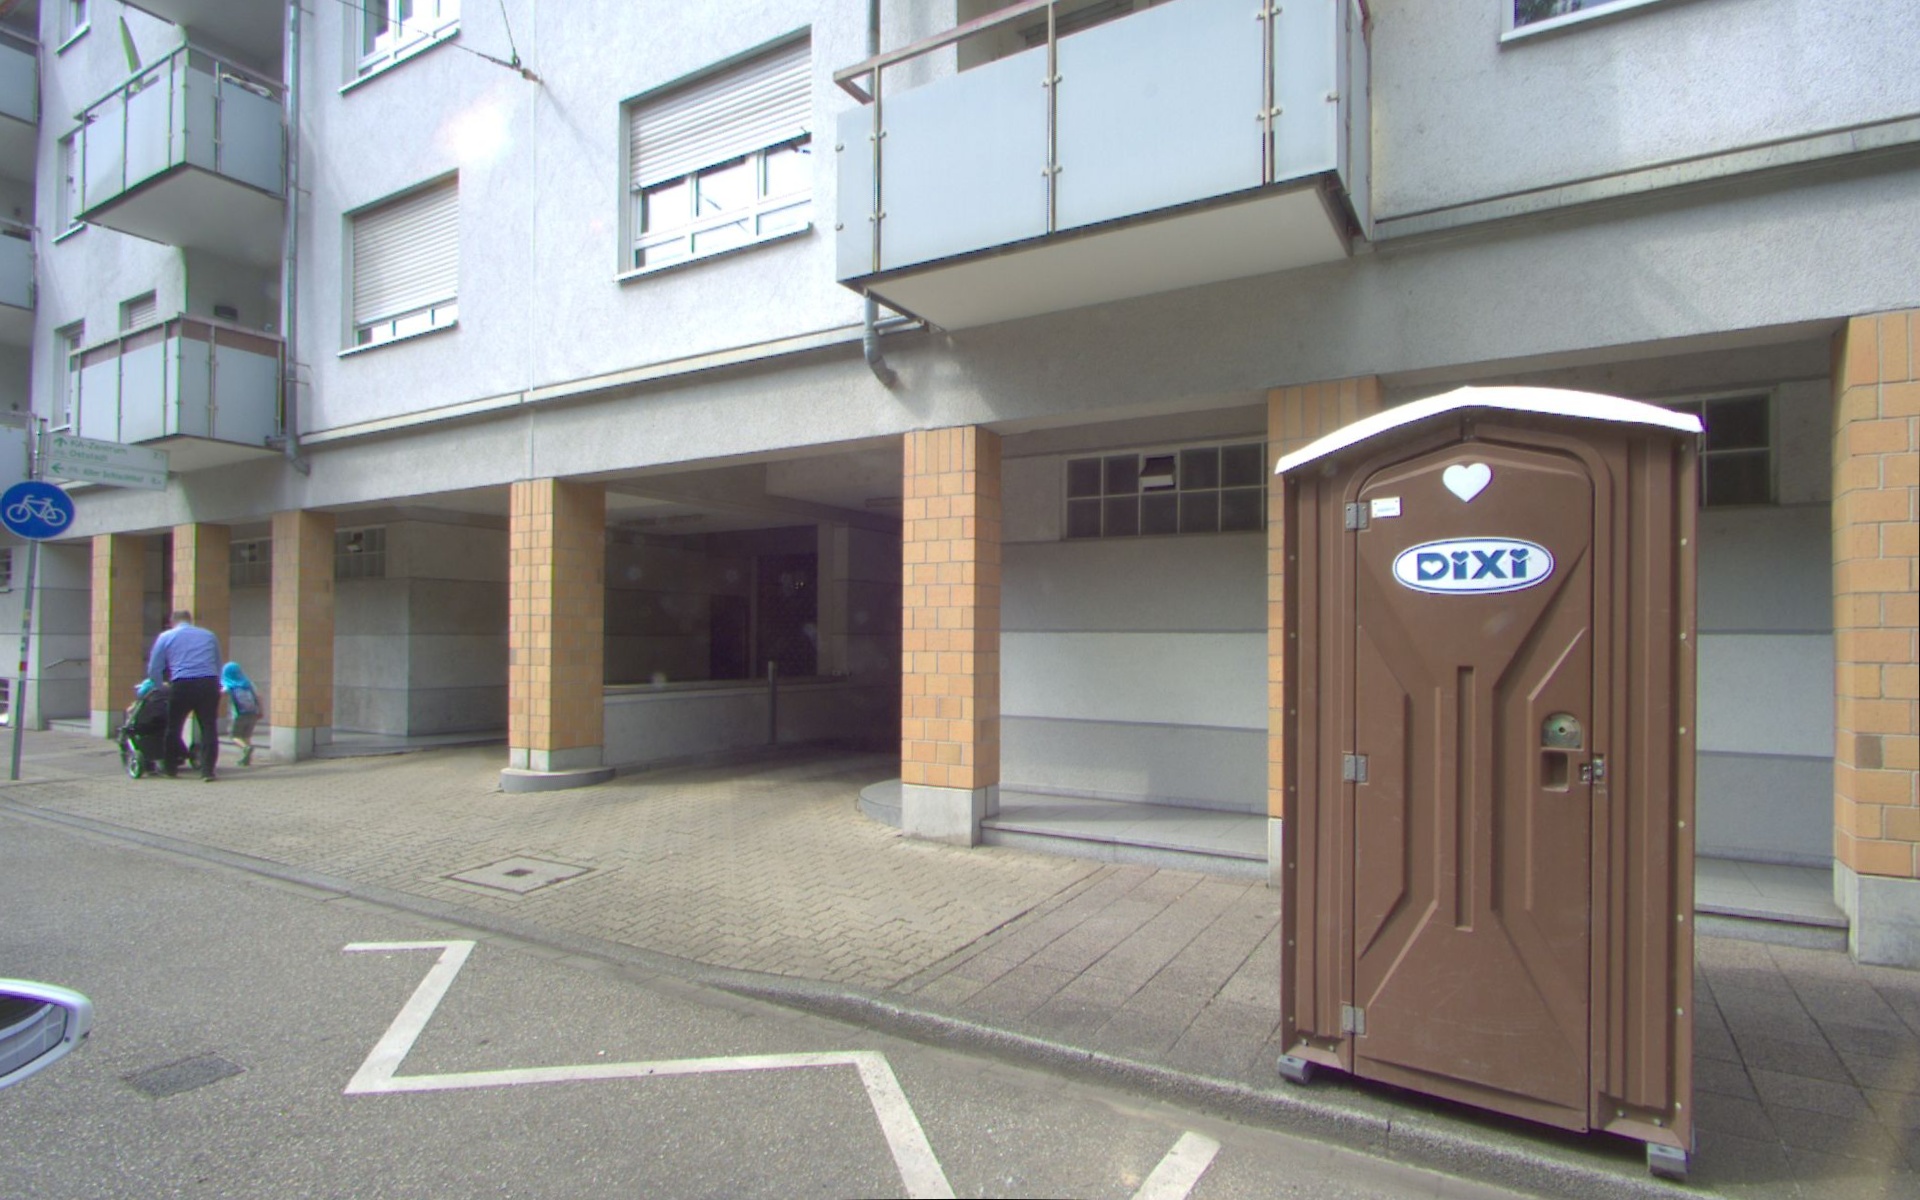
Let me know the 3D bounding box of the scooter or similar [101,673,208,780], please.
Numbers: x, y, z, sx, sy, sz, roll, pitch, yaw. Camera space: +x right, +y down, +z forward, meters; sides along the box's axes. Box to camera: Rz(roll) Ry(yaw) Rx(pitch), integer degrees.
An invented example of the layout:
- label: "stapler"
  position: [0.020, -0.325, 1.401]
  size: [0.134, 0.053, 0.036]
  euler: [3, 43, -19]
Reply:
- label: "scooter or similar"
  position: [-8.571, 1.325, 10.661]
  size: [0.893, 1.016, 0.591]
  euler: [-1, 2, 32]

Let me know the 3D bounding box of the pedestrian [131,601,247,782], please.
- label: "pedestrian"
  position: [-7.924, 0.906, 10.292]
  size: [0.865, 1.762, 0.619]
  euler: [0, 2, 32]

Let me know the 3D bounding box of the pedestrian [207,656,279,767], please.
- label: "pedestrian"
  position: [-7.909, 1.215, 11.046]
  size: [0.487, 1.150, 0.455]
  euler: [0, 2, 32]
